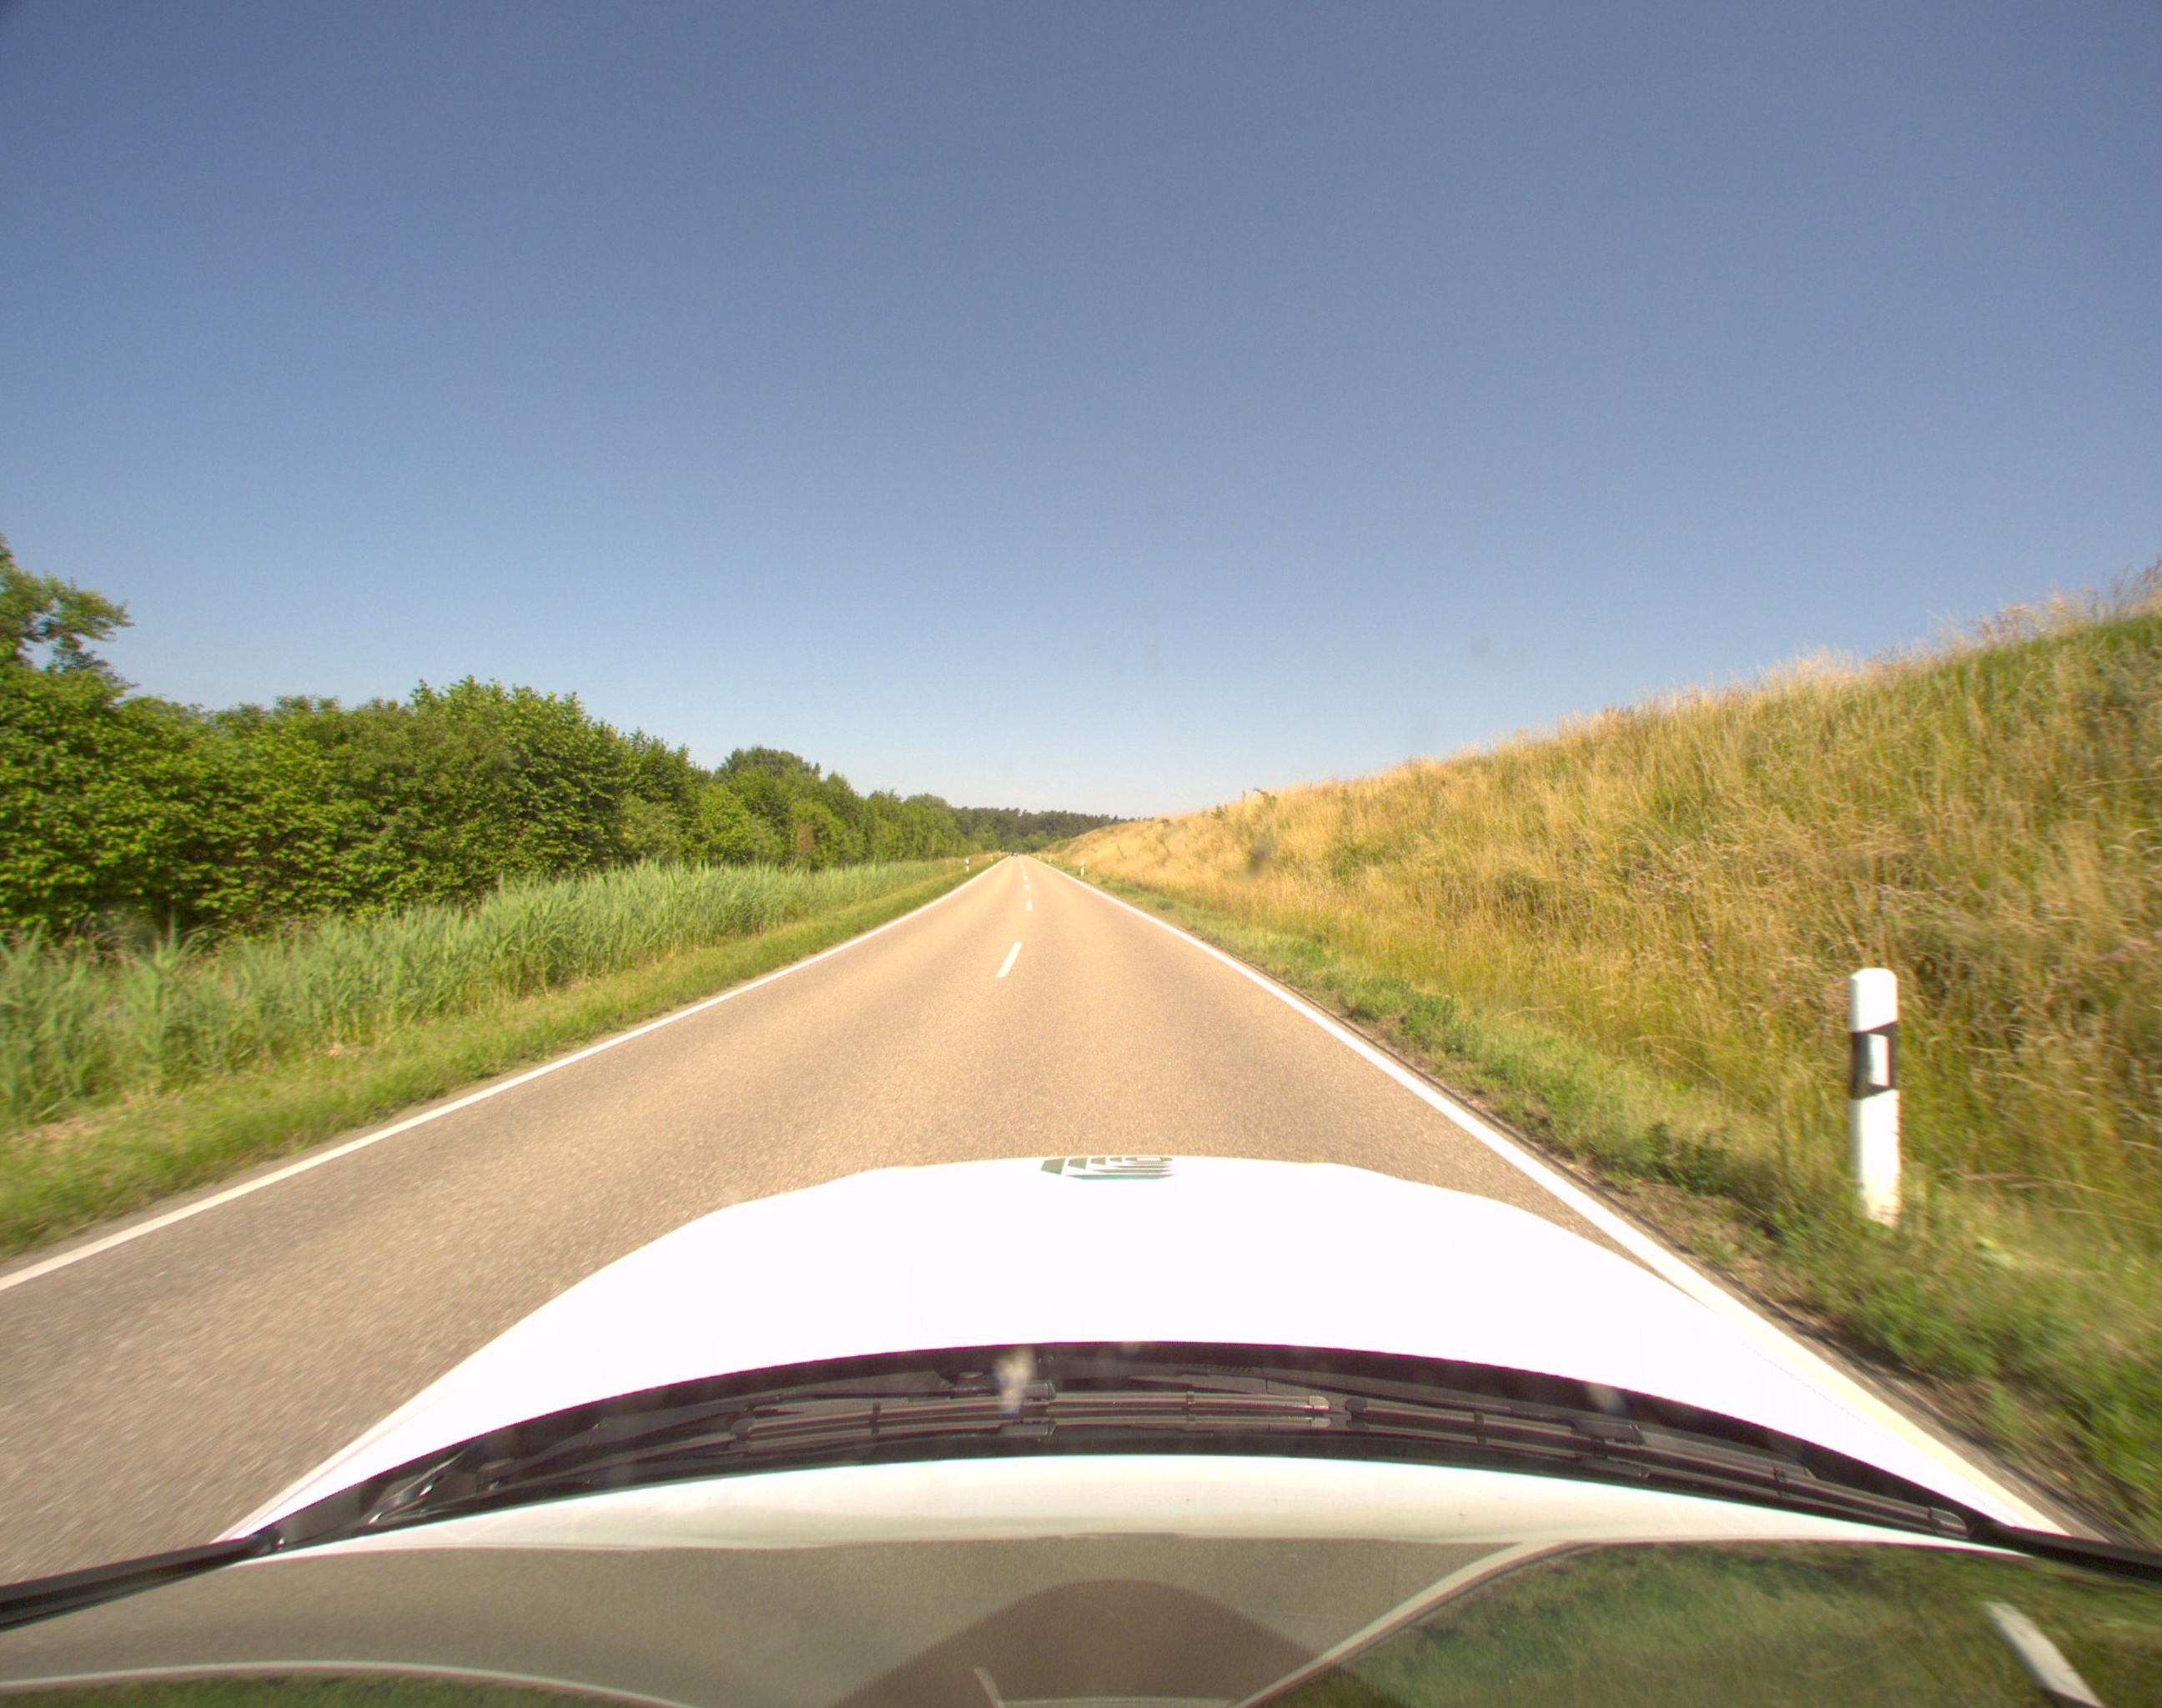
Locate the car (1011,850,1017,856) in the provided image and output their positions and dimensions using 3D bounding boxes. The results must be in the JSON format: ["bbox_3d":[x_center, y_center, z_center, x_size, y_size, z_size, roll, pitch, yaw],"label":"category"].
[{"bbox_3d":[-19.214,-0.186,234.483,1.713,1.647,3.908,1,0,-5],"label":"car"}]
